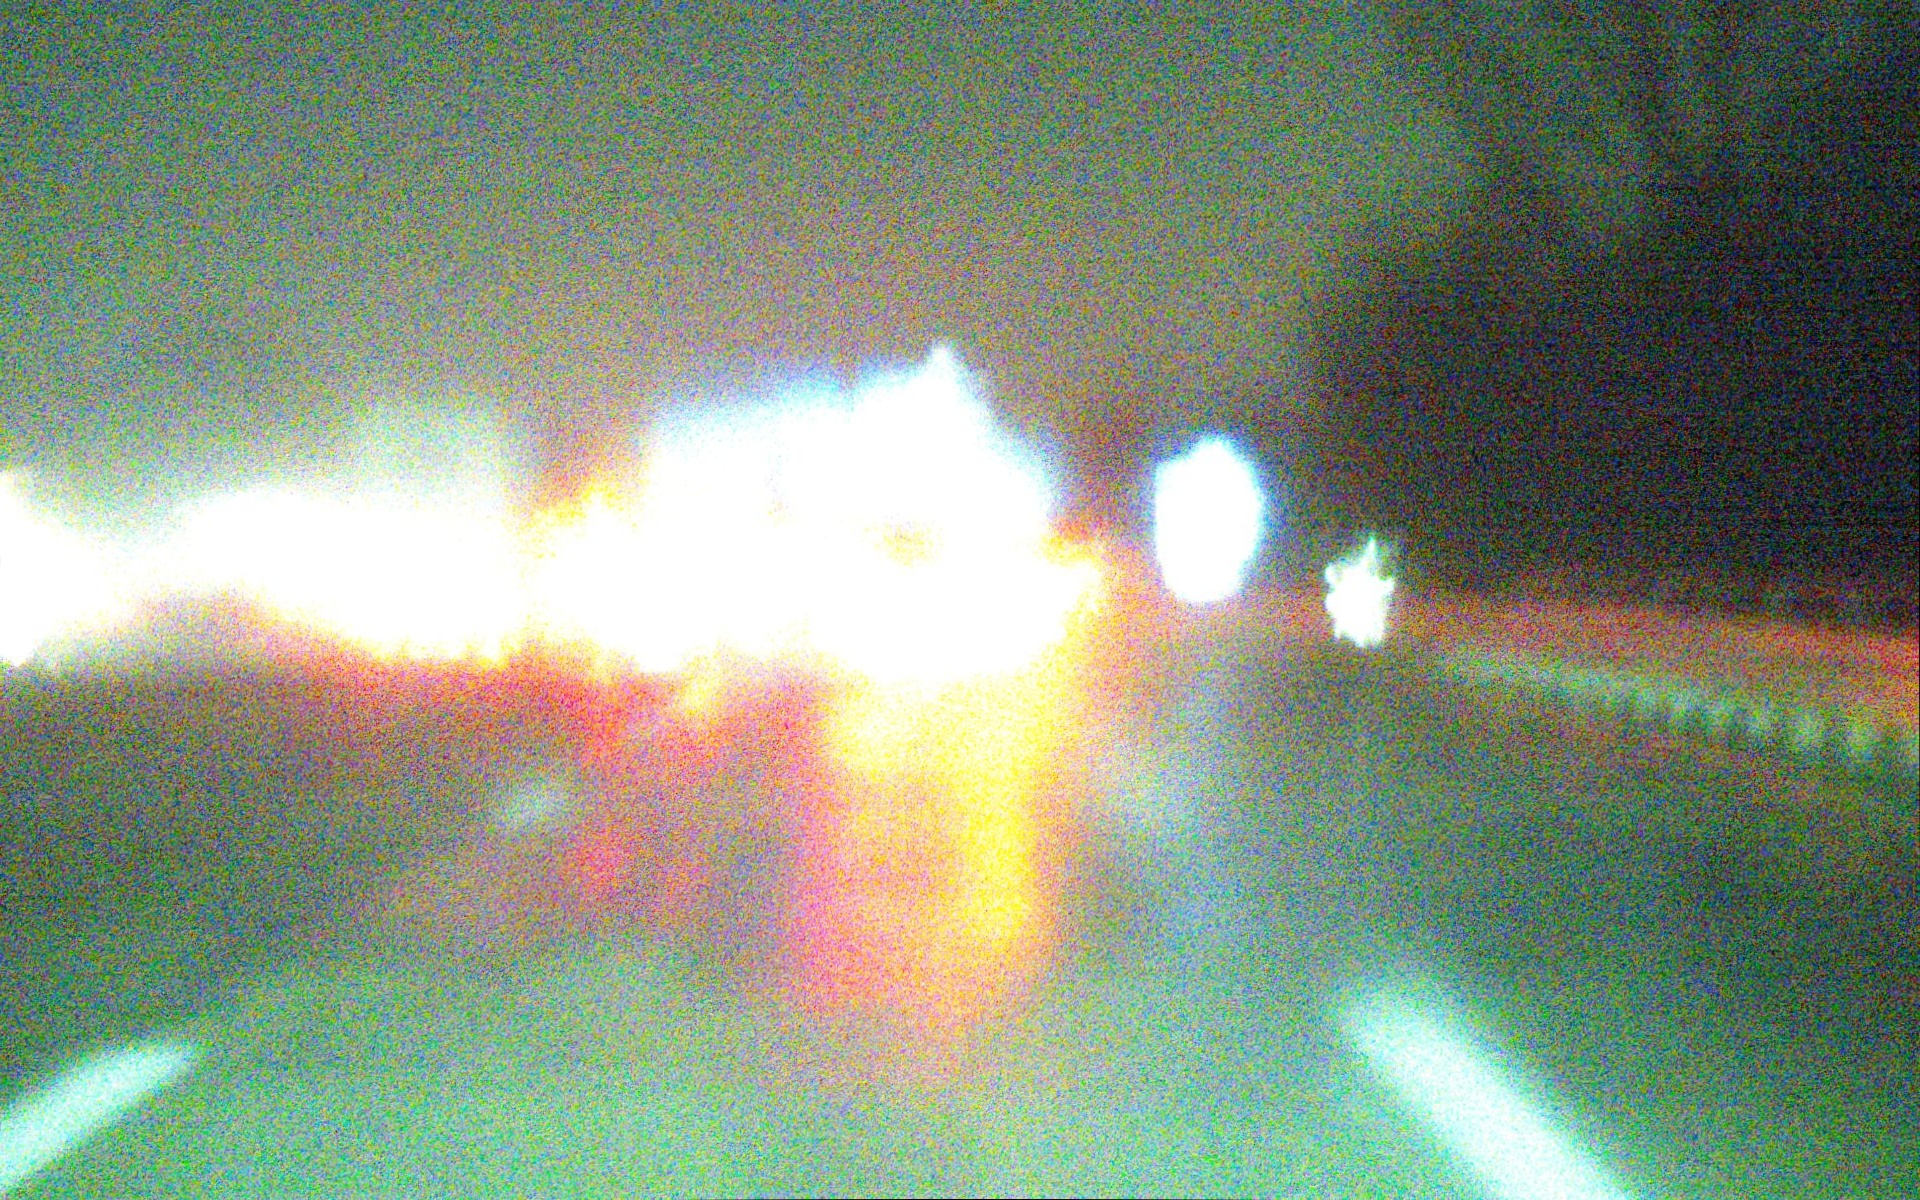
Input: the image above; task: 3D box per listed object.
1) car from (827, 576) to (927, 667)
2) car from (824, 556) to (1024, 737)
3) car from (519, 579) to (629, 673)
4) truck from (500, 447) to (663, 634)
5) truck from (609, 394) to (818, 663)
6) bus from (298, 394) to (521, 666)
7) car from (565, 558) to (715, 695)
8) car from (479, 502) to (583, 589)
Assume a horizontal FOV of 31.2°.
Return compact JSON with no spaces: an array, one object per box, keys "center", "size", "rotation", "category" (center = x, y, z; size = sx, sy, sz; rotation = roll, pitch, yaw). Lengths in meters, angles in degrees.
[{"center":[-1.931,0.461,78.849],"size":[2.125,2.007,4.646],"rotation":[1,0,-3],"category":"car"},{"center":[-0.399,0.451,36.549],"size":[1.993,1.801,4.000],"rotation":[1,0,-1],"category":"car"},{"center":[-7.627,0.491,68.218],"size":[1.993,1.801,4.001],"rotation":[1,0,-4],"category":"car"},{"center":[-11.947,-1.837,109.657],"size":[4.210,5.629,11.468],"rotation":[1,0,-2],"category":"truck"},{"center":[-5.437,-1.553,78.236],"size":[4.210,5.629,11.468],"rotation":[1,0,-2],"category":"truck"},{"center":[-9.845,-1.206,62.613],"size":[3.096,4.492,10.915],"rotation":[1,0,-4],"category":"bus"},{"center":[-4.875,0.371,52.965],"size":[2.125,2.007,4.646],"rotation":[1,0,-3],"category":"car"},{"center":[-9.209,-1.164,74.096],"size":[1.993,1.801,4.001],"rotation":[1,0,-4],"category":"car"}]
